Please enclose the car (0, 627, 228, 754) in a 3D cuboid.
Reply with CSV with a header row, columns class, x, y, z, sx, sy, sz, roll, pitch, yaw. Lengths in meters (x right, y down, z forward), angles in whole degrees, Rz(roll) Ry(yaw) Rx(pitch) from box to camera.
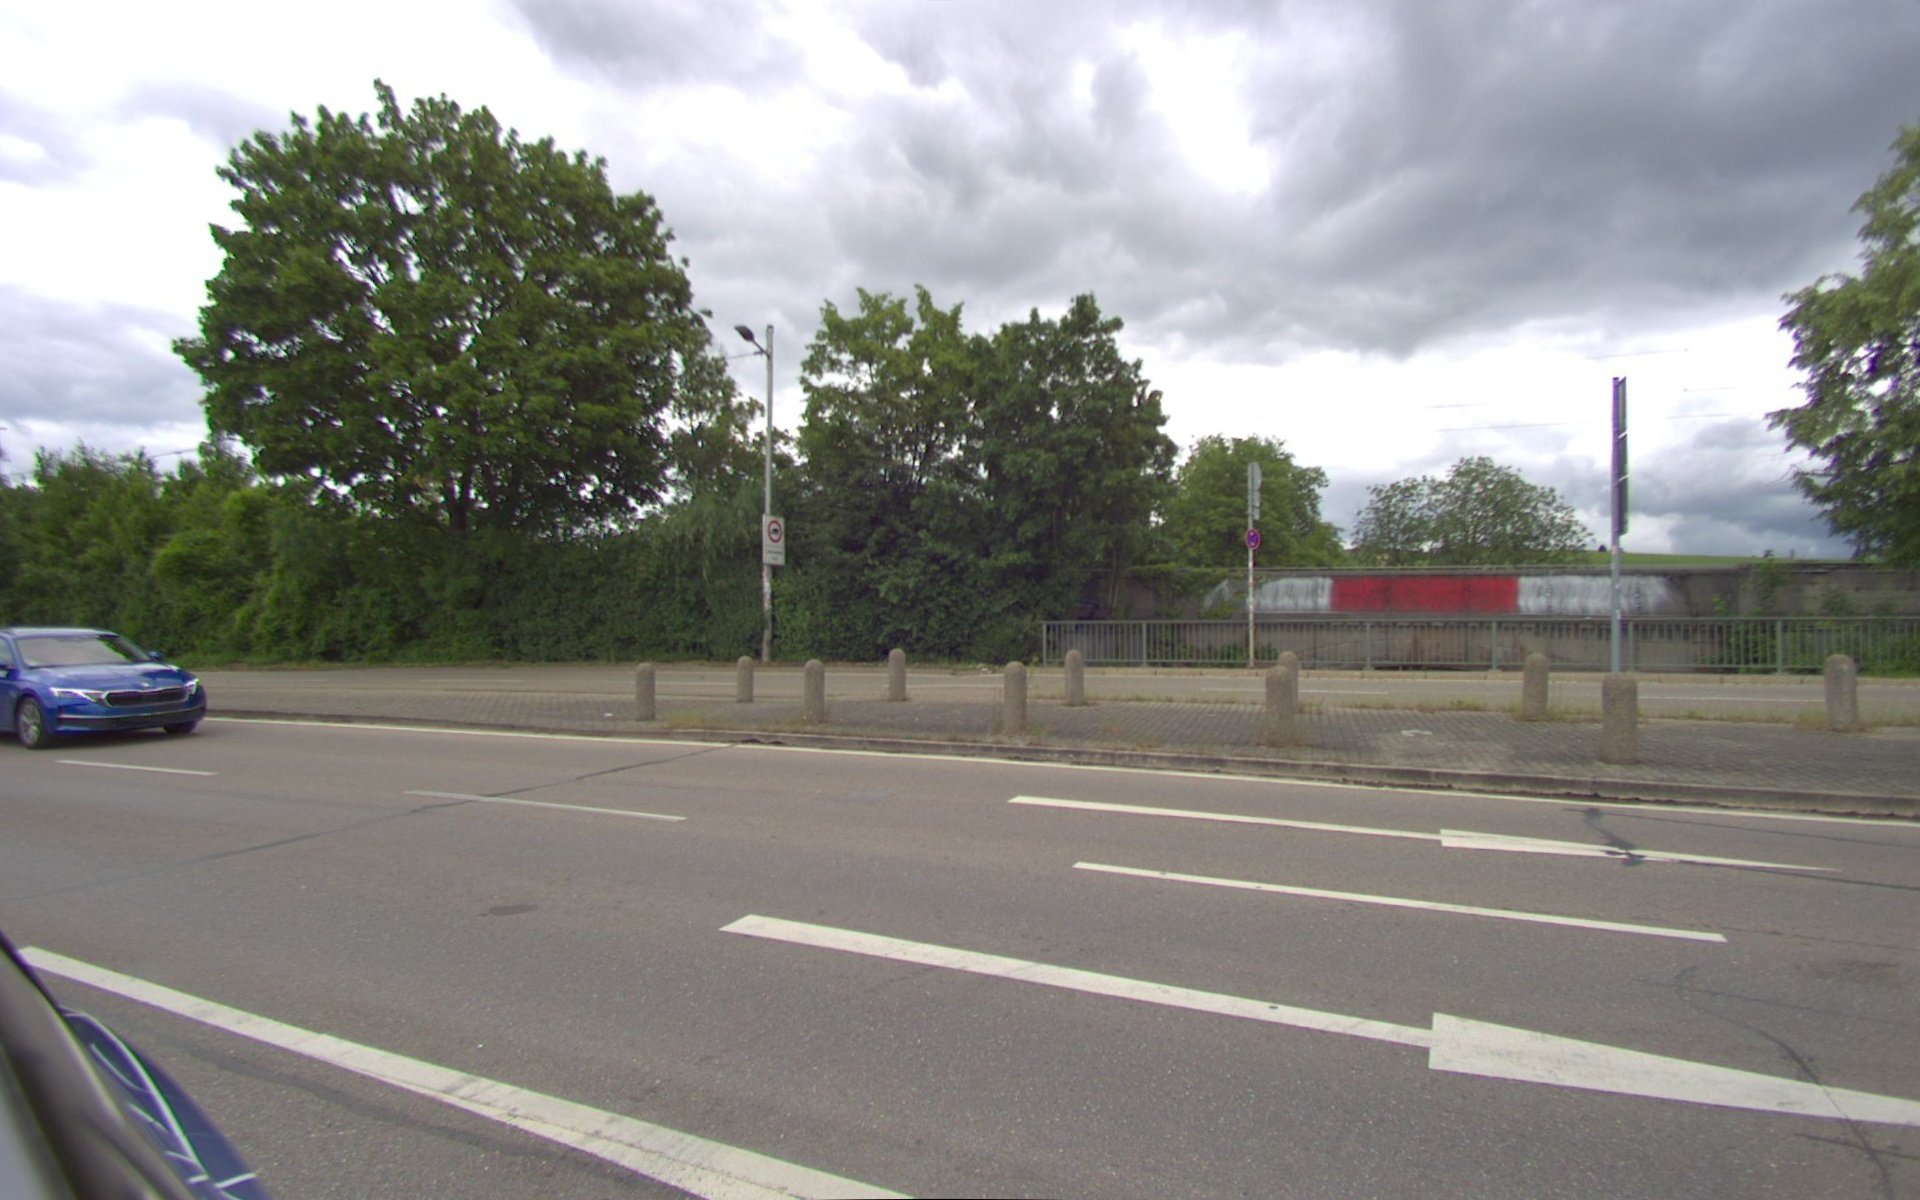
class,x,y,z,sx,sy,sz,roll,pitch,yaw
car,-12.062,1.124,13.451,4.554,1.427,1.828,-2,-1,25
